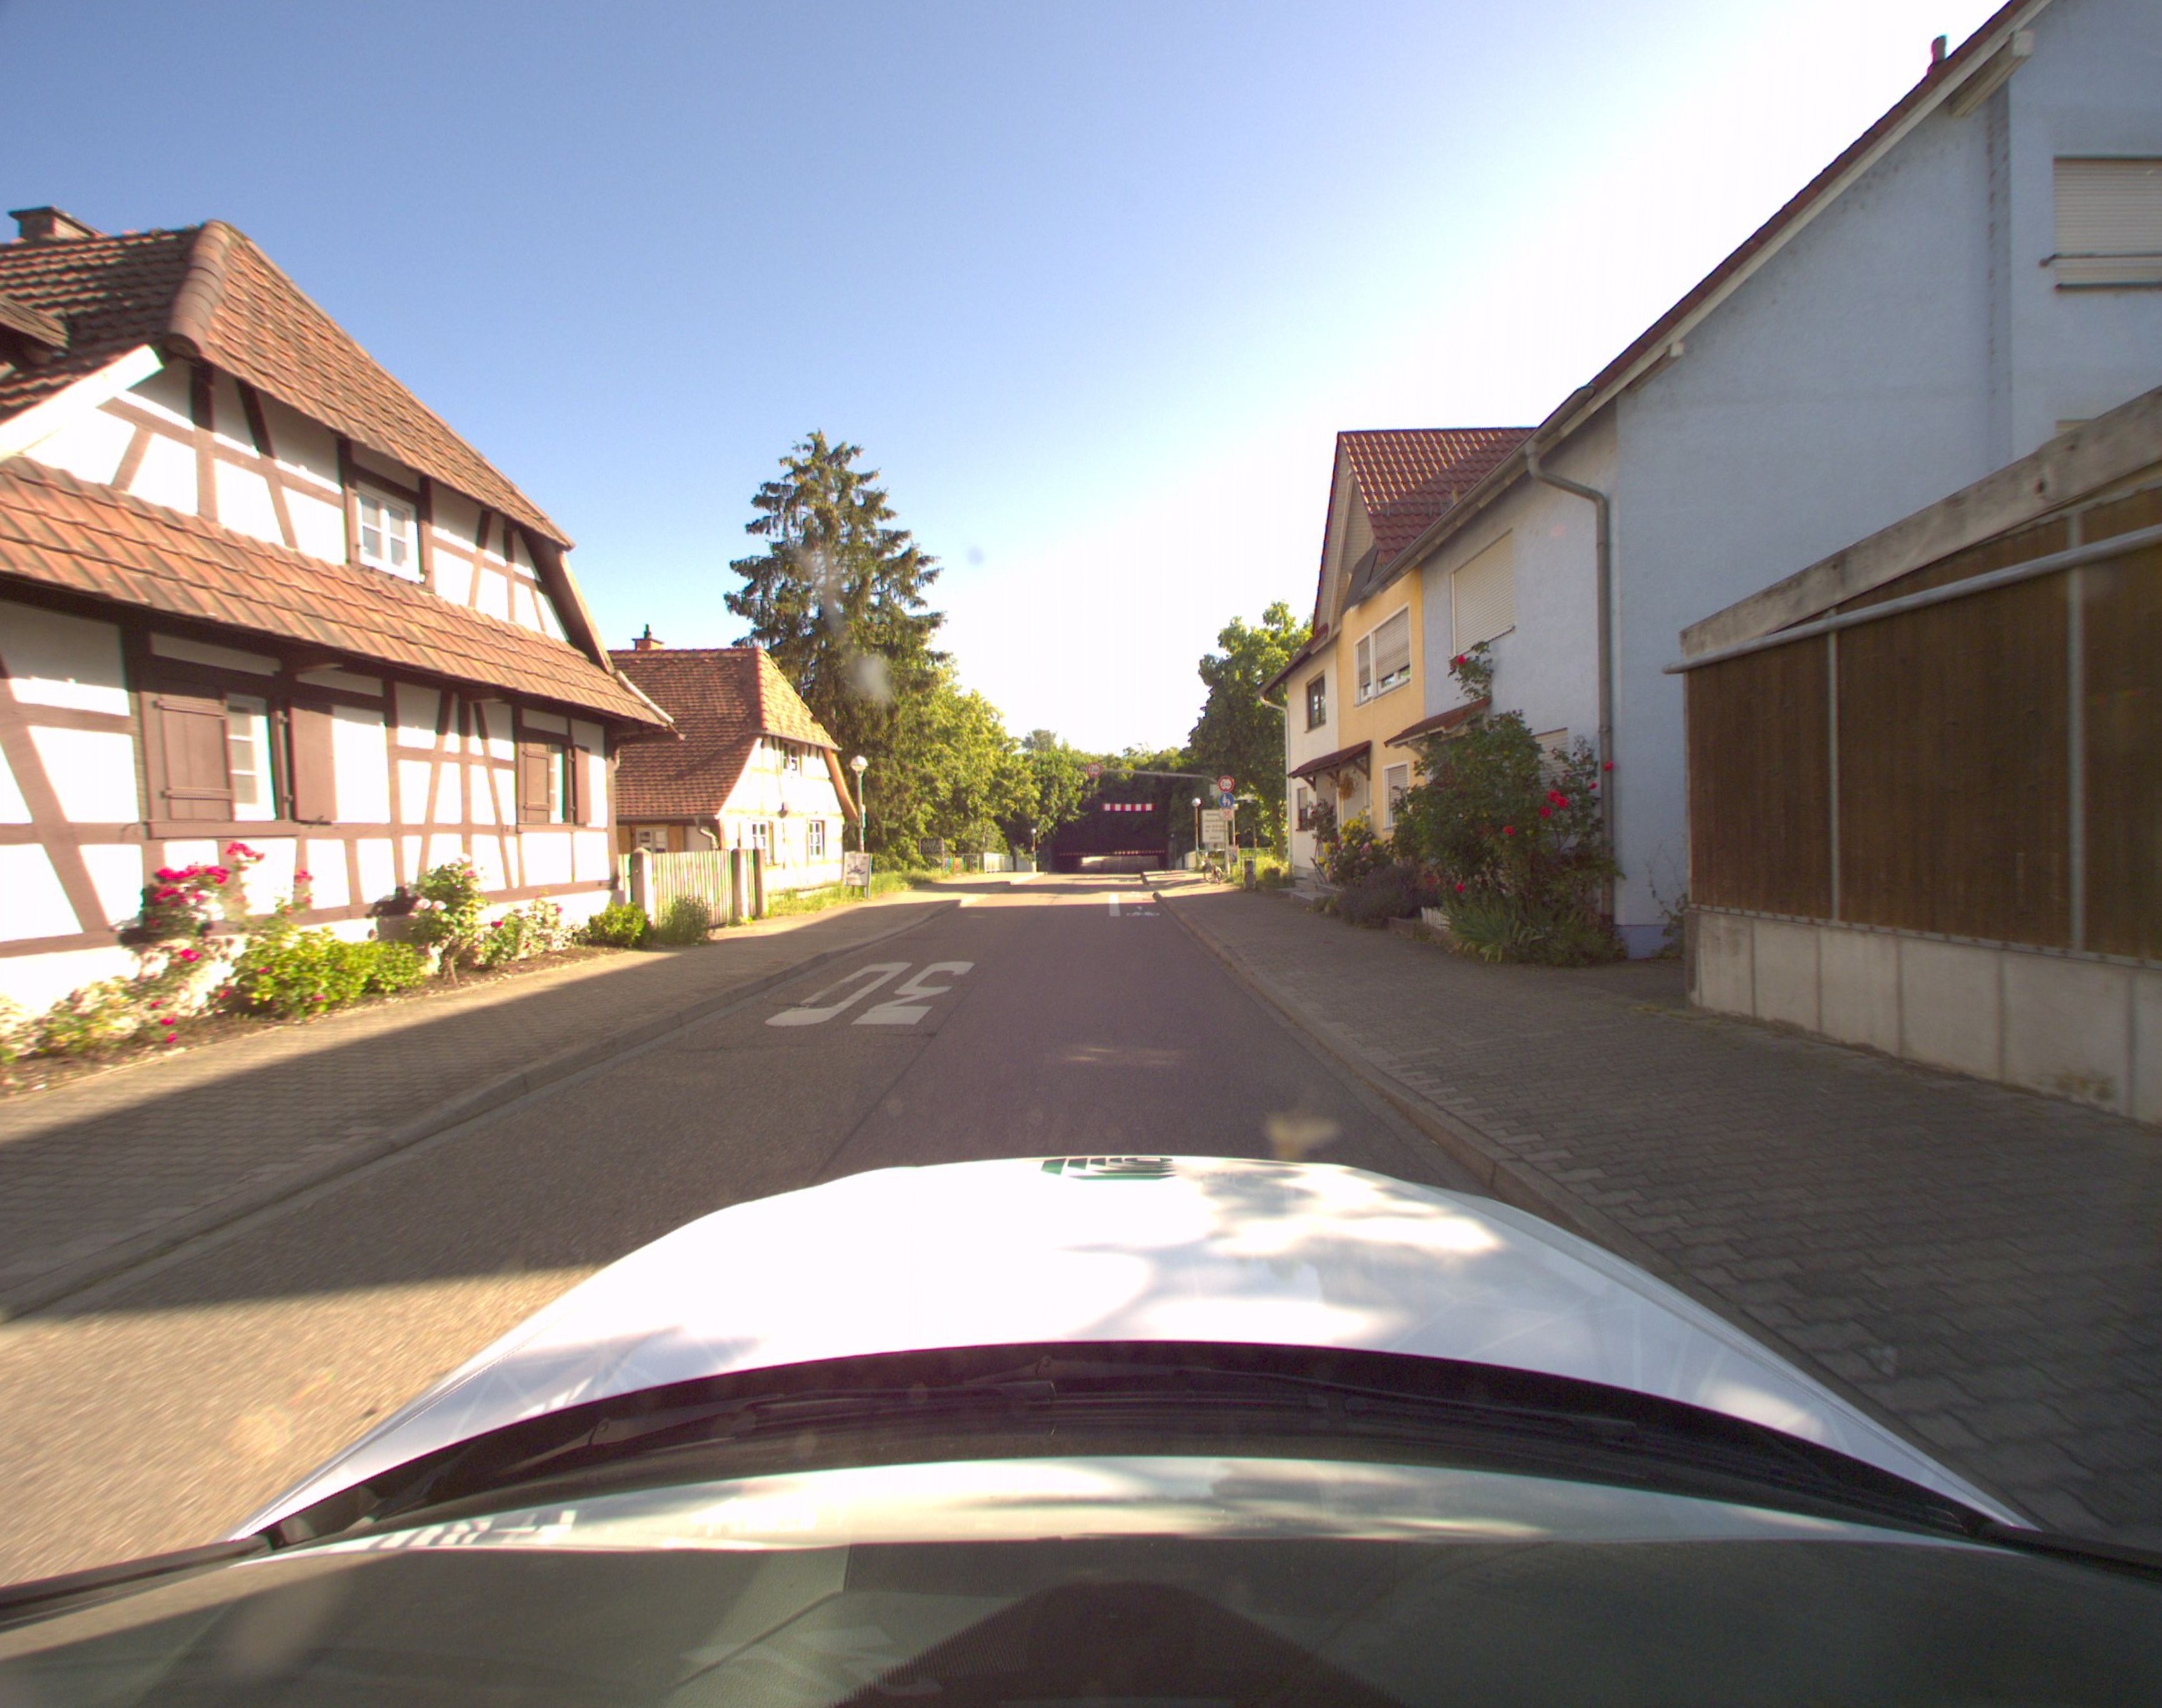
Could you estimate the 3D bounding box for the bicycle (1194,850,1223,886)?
[{"bbox_3d":[4.412,0.473,28.261,0.686,1.157,1.540,-6,1,2],"label":"bicycle"}]
